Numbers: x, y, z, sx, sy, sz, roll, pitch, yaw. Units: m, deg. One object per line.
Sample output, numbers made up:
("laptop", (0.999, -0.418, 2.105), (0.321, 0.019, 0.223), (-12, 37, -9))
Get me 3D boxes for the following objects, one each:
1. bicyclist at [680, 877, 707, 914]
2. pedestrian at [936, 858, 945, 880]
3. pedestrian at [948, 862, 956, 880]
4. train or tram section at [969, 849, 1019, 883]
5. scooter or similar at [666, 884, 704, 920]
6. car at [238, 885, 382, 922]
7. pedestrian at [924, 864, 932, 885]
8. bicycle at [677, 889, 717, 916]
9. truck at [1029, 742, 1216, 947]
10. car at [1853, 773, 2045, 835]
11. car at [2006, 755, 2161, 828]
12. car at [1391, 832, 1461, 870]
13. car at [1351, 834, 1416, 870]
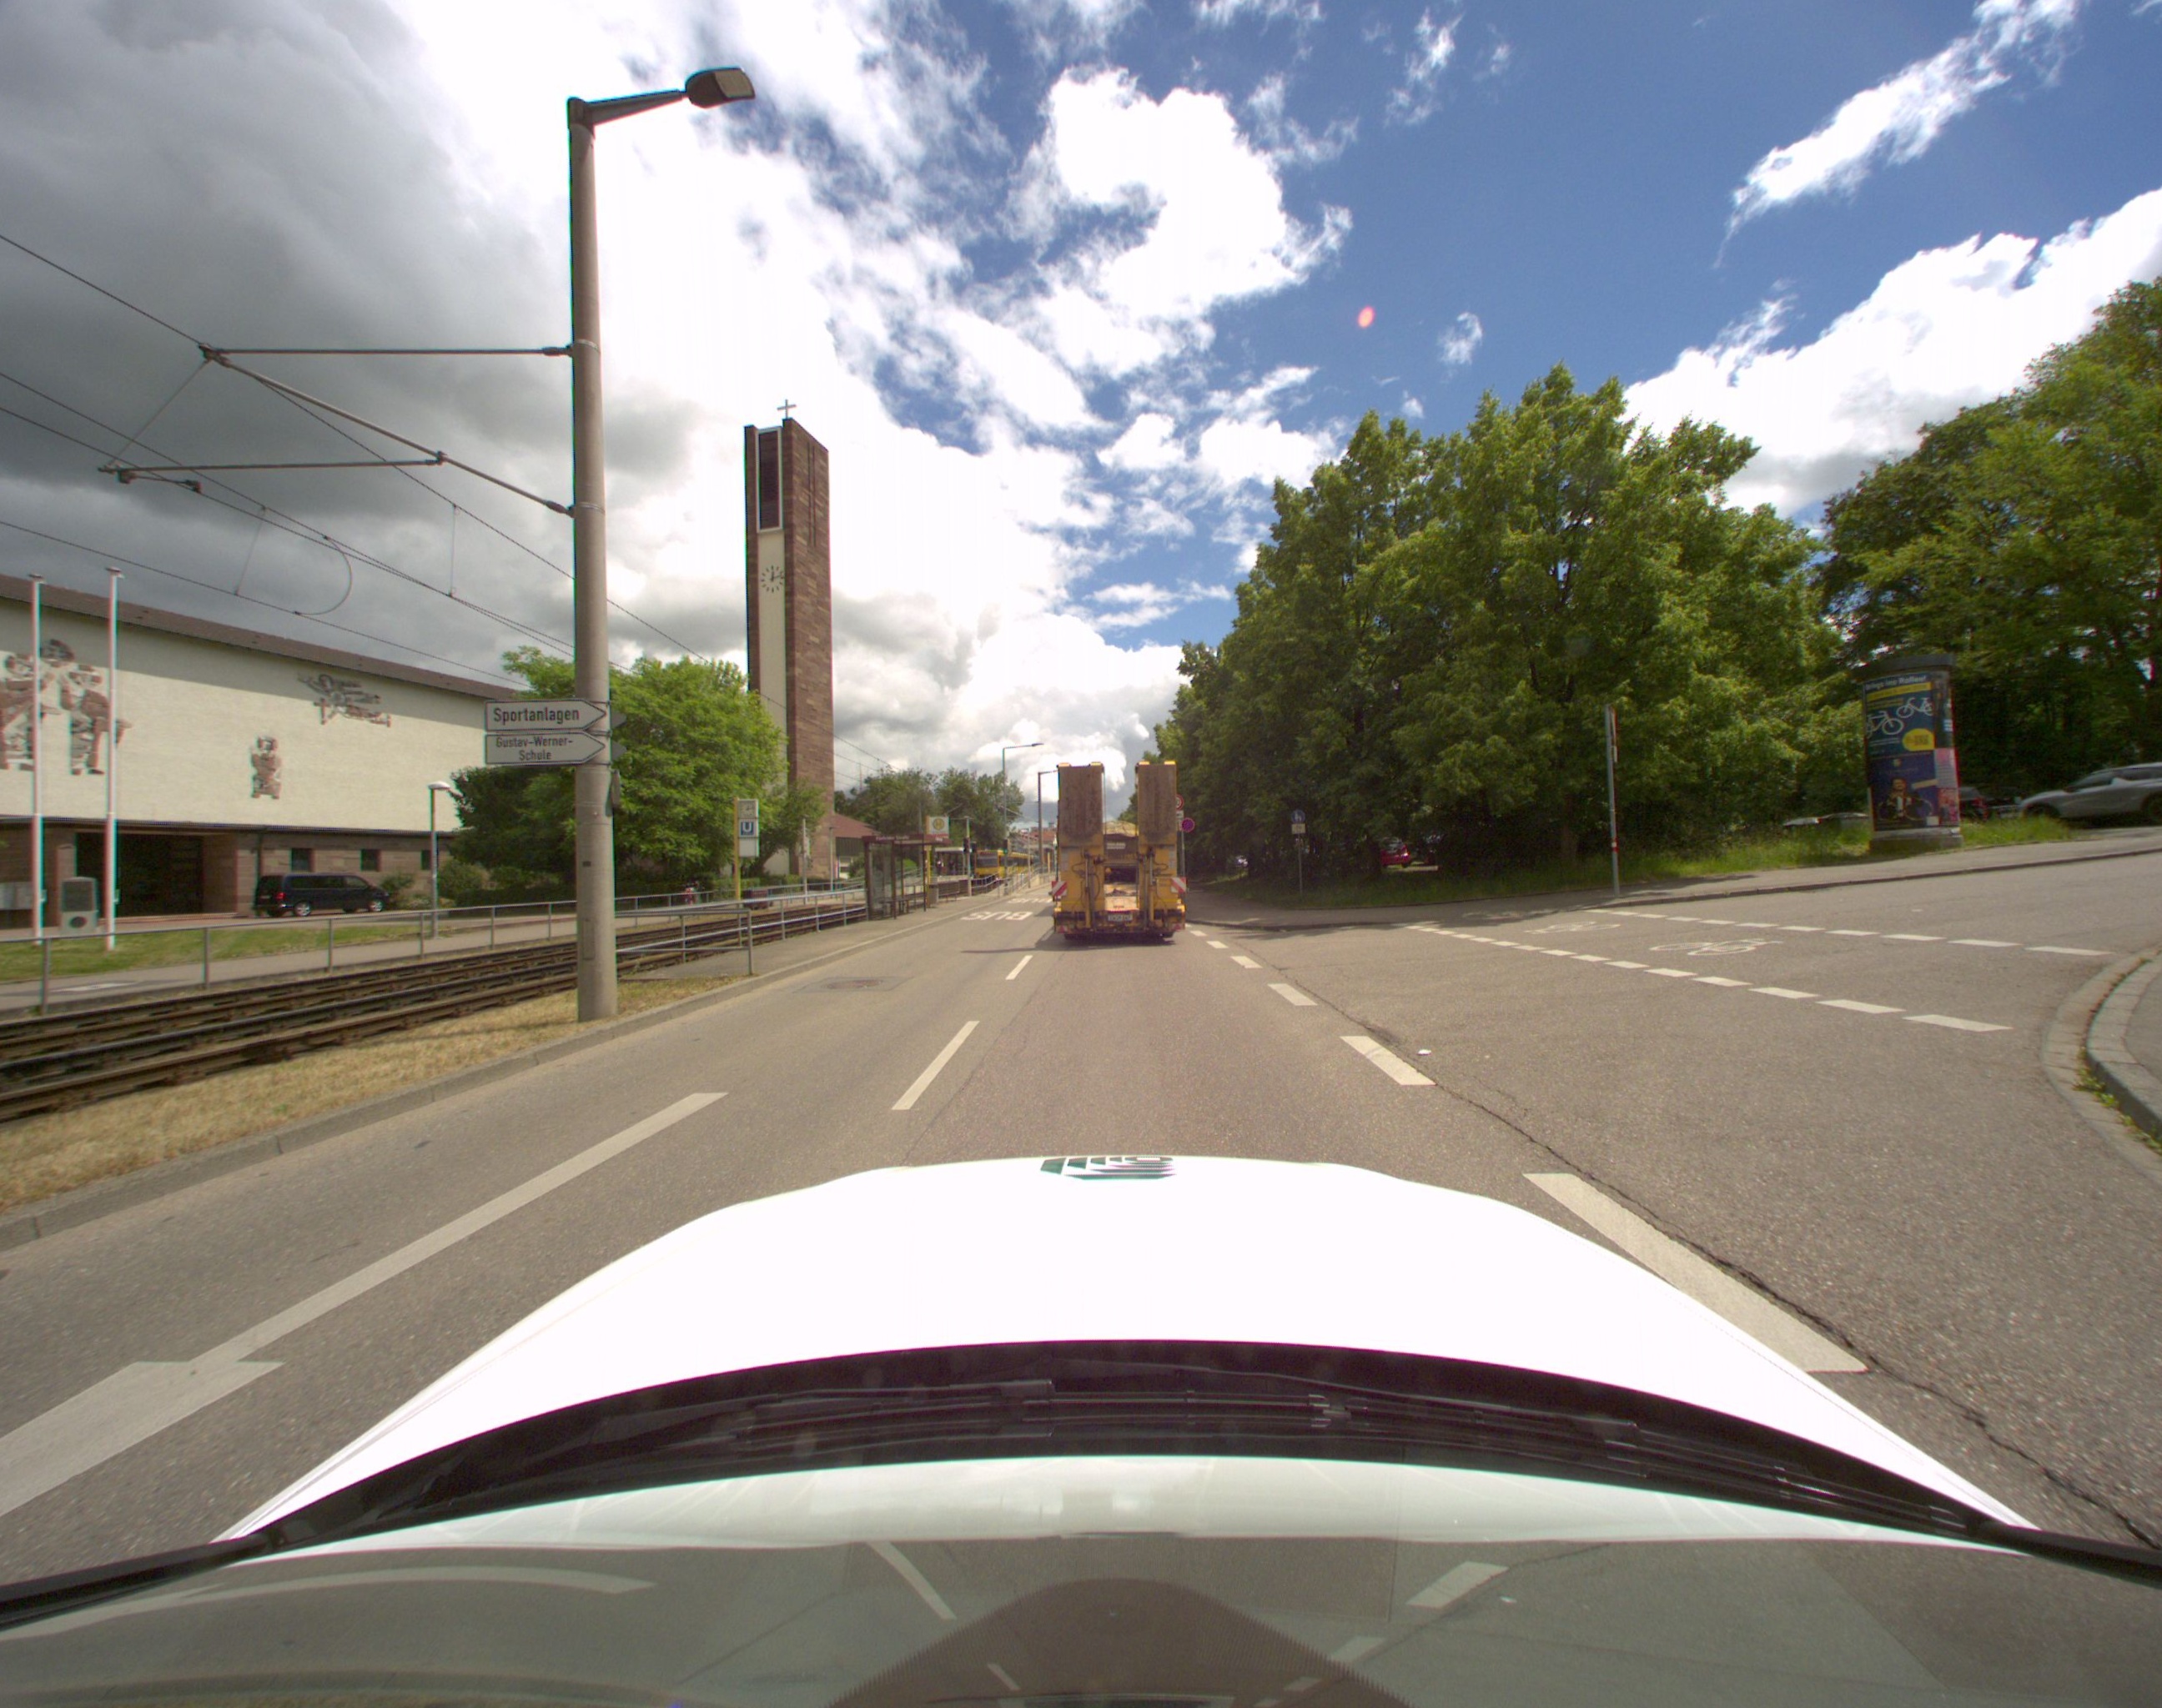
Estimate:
("bicyclist", (-15.311, 1.622, 32.210), (0.631, 1.429, 0.790), (0, -2, 1))
("pedestrian", (-13.123, 1.375, 75.906), (0.710, 2.014, 0.731), (0, -2, -1))
("pedestrian", (-12.307, 1.644, 77.476), (0.637, 1.707, 0.646), (0, -2, 1))
("train or tram section", (-9.486, 1.419, 91.790), (3.096, 3.465, 18.828), (0, -1, 1))
("scooter or similar", (-14.268, 1.726, 29.406), (0.647, 1.237, 1.402), (0, 0, 2))
("car", (-36.515, 2.293, 38.736), (1.977, 1.574, 4.498), (0, -1, 19))
("pedestrian", (-13.432, 1.808, 71.462), (0.582, 1.778, 0.576), (0, -2, 1))
("bicycle", (-15.232, 1.905, 32.347), (0.635, 0.994, 1.929), (0, -1, 1))
("truck", (0.678, -0.038, 22.035), (3.392, 3.732, 13.730), (-1, -1, -1))
("car", (26.695, -1.483, 25.277), (1.631, 1.469, 3.982), (-4, -1, 0))
("car", (26.601, -1.605, 20.666), (1.631, 1.585, 3.982), (-4, -1, 0))
("car", (16.327, -0.105, 38.690), (1.746, 1.582, 3.663), (-4, -1, 1))
("car", (14.172, -0.040, 38.346), (1.655, 1.500, 3.663), (-4, -1, 1))
